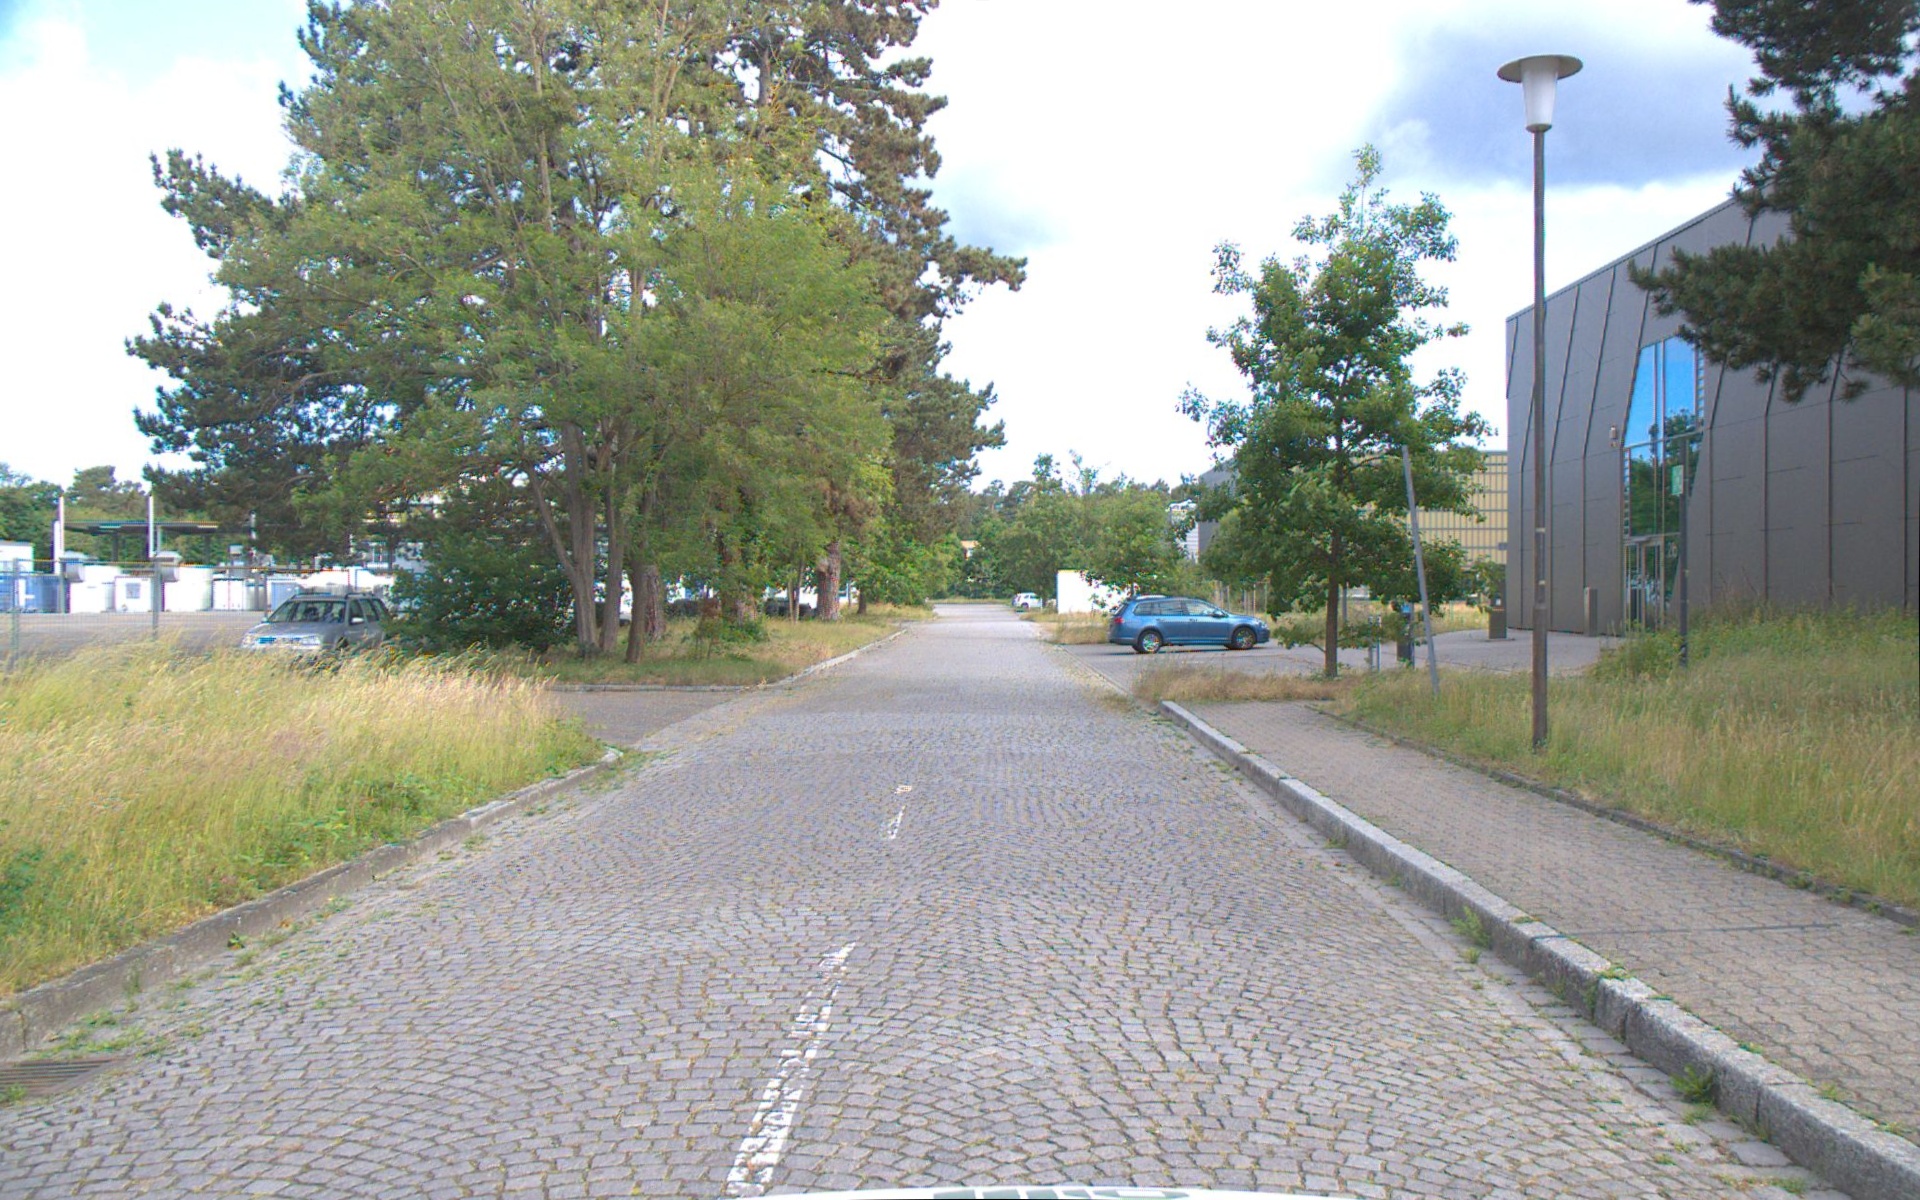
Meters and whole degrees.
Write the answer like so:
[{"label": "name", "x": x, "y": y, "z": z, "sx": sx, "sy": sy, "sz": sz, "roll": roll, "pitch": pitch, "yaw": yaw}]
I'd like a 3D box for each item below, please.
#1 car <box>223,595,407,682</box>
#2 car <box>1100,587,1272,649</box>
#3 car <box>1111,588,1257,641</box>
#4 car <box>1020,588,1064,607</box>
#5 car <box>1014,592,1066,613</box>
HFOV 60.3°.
[{"label": "car", "x": -12.099, "y": 0.674, "z": 31.346, "sx": 1.880, "sy": 1.502, "sz": 4.368, "roll": 0, "pitch": 0, "yaw": -2}, {"label": "car", "x": 6.244, "y": 0.490, "z": 45.952, "sx": 4.427, "sy": 1.558, "sz": 1.999, "roll": -2, "pitch": 0, "yaw": -3}, {"label": "car", "x": 7.167, "y": 0.441, "z": 53.296, "sx": 4.424, "sy": 1.558, "sz": 2.000, "roll": -2, "pitch": 0, "yaw": 1}, {"label": "car", "x": 7.926, "y": -0.281, "z": 160.510, "sx": 4.264, "sy": 1.811, "sz": 1.926, "roll": 0, "pitch": 0, "yaw": 2}, {"label": "car", "x": 6.740, "y": 0.201, "z": 139.524, "sx": 4.265, "sy": 1.717, "sz": 1.925, "roll": 0, "pitch": 0, "yaw": 0}]
